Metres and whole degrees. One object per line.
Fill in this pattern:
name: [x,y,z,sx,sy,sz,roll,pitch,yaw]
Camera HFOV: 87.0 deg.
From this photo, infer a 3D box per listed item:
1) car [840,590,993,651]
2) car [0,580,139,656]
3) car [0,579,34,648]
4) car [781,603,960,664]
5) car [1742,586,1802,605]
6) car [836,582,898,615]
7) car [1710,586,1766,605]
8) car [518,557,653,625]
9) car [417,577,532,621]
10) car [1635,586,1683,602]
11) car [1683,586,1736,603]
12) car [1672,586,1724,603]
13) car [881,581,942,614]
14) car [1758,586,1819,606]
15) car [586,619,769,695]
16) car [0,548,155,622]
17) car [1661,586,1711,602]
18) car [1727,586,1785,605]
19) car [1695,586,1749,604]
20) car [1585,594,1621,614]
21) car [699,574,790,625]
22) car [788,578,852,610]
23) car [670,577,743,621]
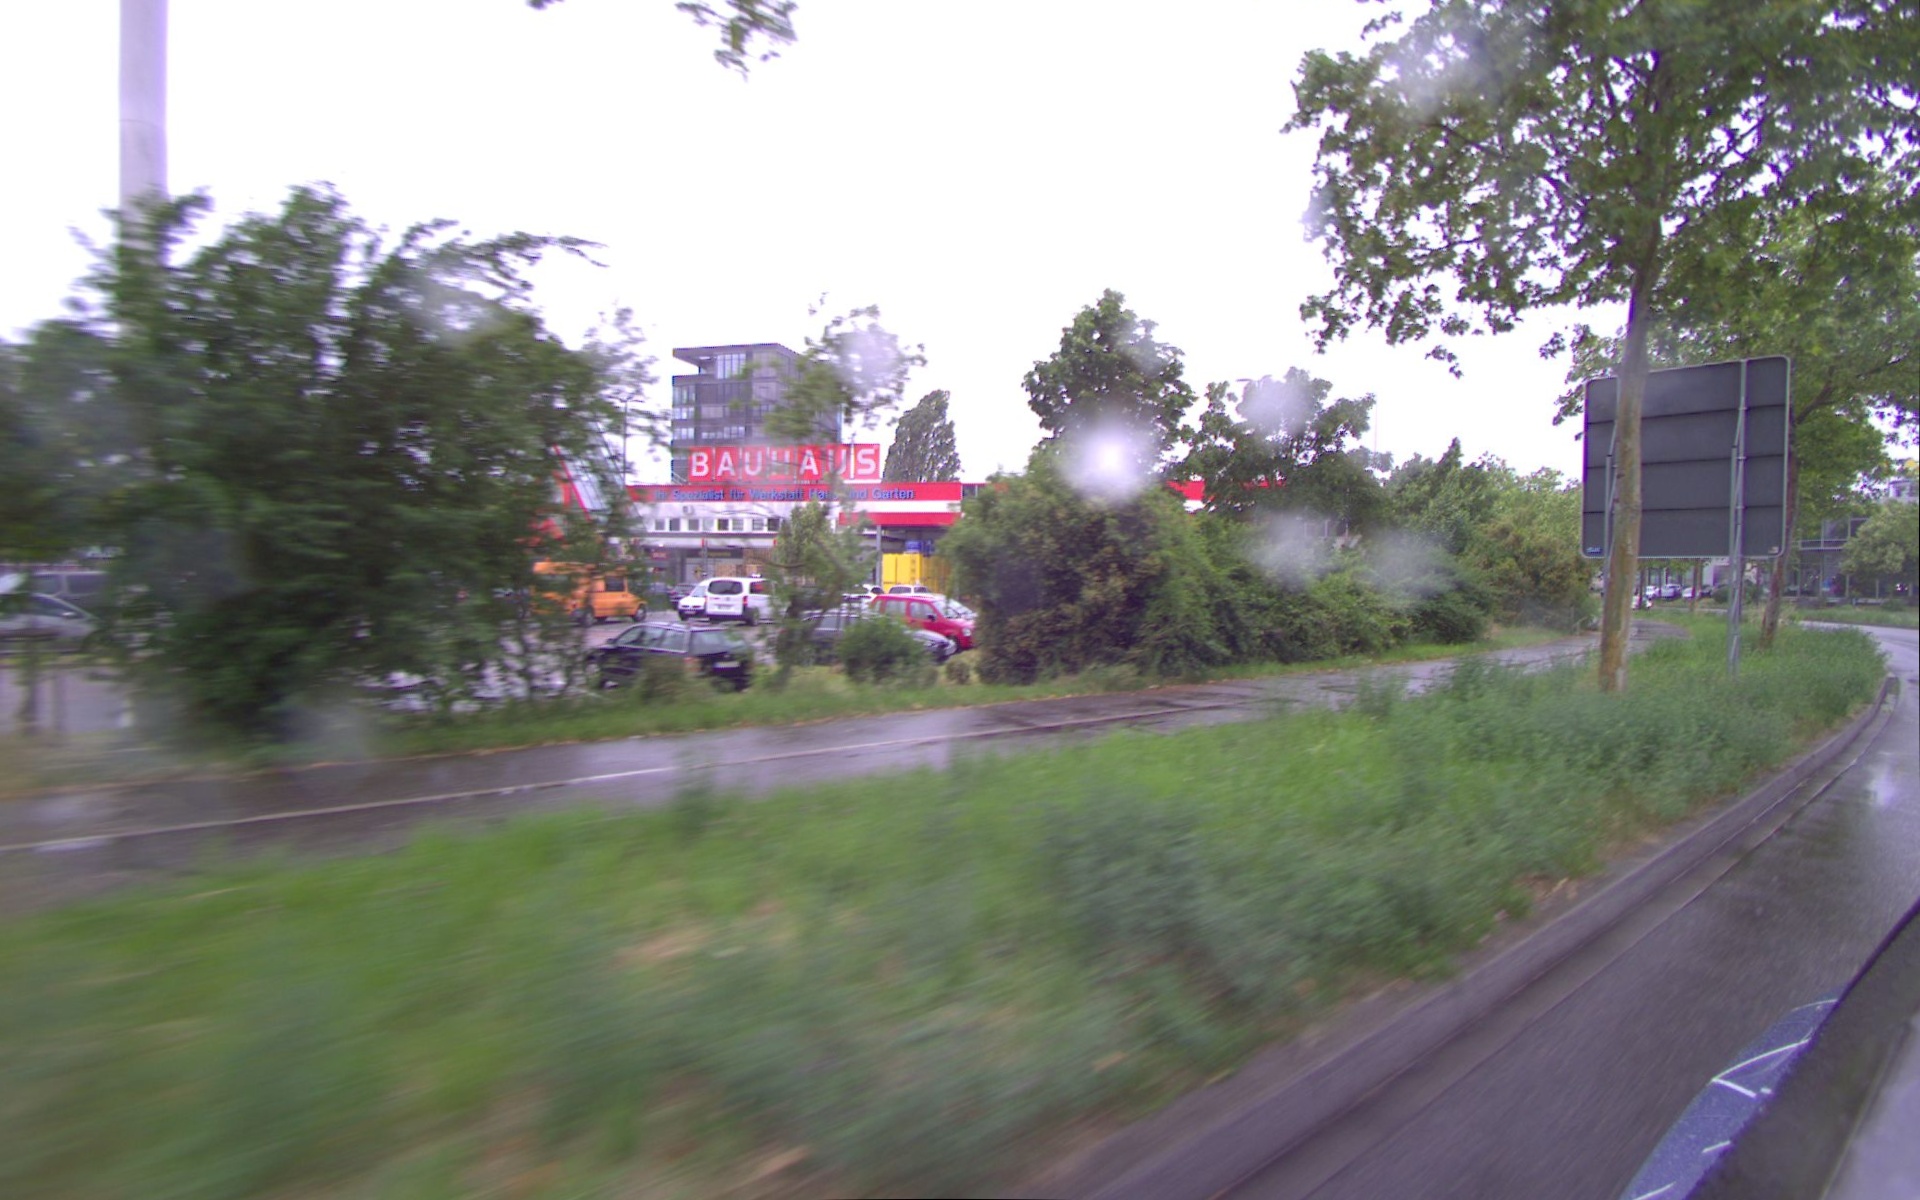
car: [-1.288,0.563,30.211,4.235,1.695,1.746,1,1,16]
car: [-21.593,0.386,23.037,1.908,1.655,4.325,0,0,11]
car: [-24.331,0.334,23.152,1.911,1.655,4.319,0,0,15]
car: [-2.246,0.812,25.803,4.230,1.388,1.748,1,1,13]
car: [75.087,-0.391,93.609,3.925,1.680,1.865,-1,0,1]
car: [-4.864,-0.124,53.553,1.734,1.654,3.819,1,1,22]
car: [75.131,-0.450,97.719,3.925,1.680,1.865,-1,0,1]
car: [-14.221,-0.367,38.875,2.244,2.396,5.660,1,1,12]
car: [-19.304,-0.066,40.461,1.910,1.655,4.322,0,0,13]
car: [76.696,-0.694,111.113,3.925,1.680,1.865,-1,0,1]
car: [75.787,-0.555,102.382,3.925,1.680,1.865,-1,0,1]
car: [76.213,-0.593,104.531,3.925,1.680,1.865,-1,0,1]
car: [-2.490,-0.160,52.480,1.734,1.654,3.819,1,1,22]
car: [75.007,-0.362,91.631,3.925,1.680,1.865,-1,0,1]
car: [-5.615,1.046,19.899,3.832,1.213,1.728,1,1,42]
car: [-31.594,-0.491,33.591,2.554,2.386,7.528,0,0,18]
car: [76.568,-0.631,106.779,3.925,1.680,1.865,-1,0,1]
car: [75.177,-0.420,95.575,3.925,1.680,1.865,-1,0,1]
car: [75.362,-0.516,100.131,3.925,1.680,1.865,-1,0,1]
car: [55.670,0.347,87.687,1.978,1.671,3.969,0,1,23]
car: [-8.490,-0.061,40.294,1.799,1.894,4.495,1,1,14]
car: [-7.453,-0.329,54.252,1.734,1.654,3.819,1,1,22]
car: [-10.767,-0.064,43.239,1.727,1.766,3.609,1,1,10]
